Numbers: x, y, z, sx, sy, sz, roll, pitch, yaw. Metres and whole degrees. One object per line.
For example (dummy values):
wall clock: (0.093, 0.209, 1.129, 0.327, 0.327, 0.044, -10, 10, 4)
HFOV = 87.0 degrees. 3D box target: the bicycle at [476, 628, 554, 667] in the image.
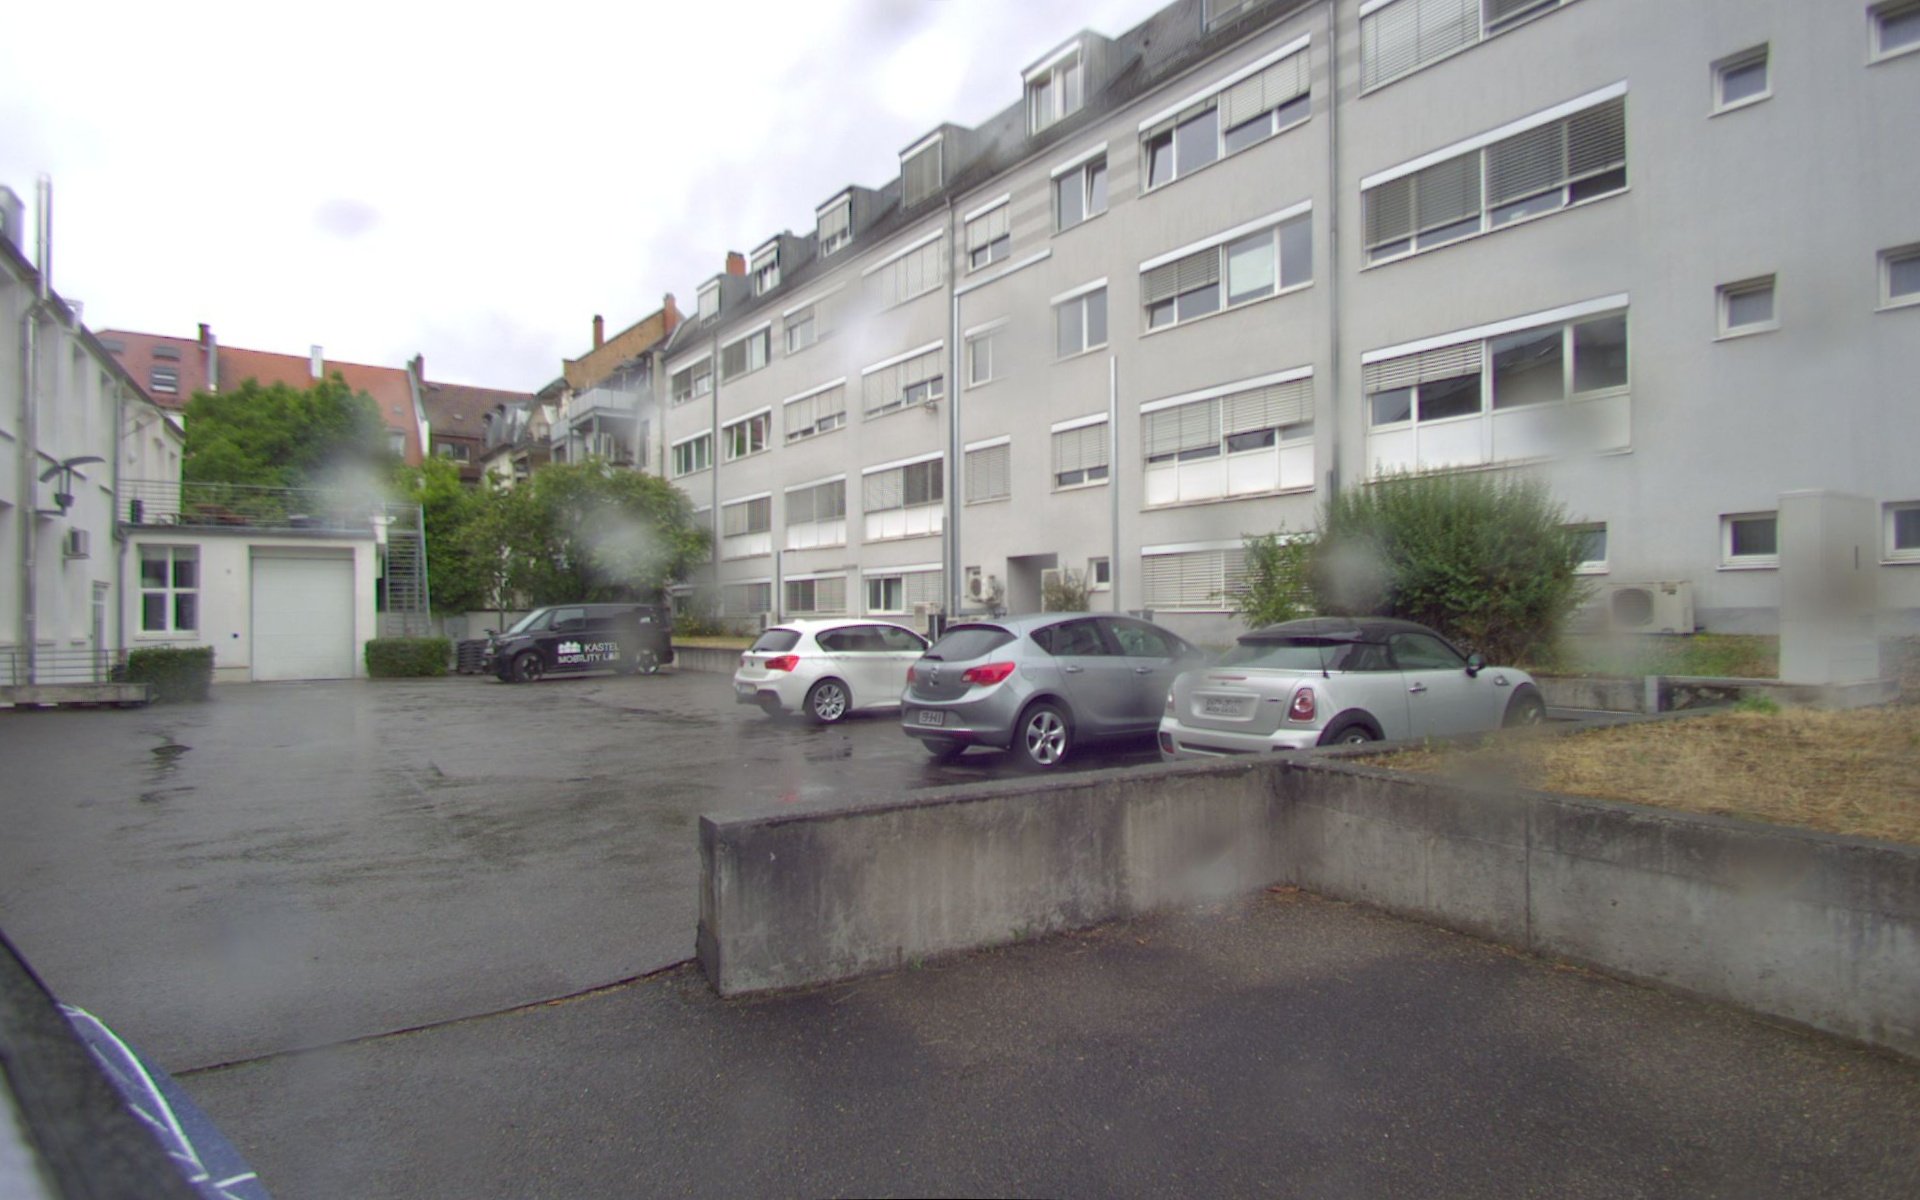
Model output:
bicycle: (-14.575, 1.537, 33.203, 2.281, 1.195, 0.645, 0, 1, -31)

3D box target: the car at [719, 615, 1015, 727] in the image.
car: (-1.322, 0.952, 15.114, 4.084, 1.444, 1.757, 0, -1, -36)

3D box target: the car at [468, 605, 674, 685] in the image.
car: (-9.944, 1.108, 26.045, 4.557, 1.851, 1.992, 0, -2, -38)

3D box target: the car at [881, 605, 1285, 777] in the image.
car: (1.401, 0.829, 10.779, 4.110, 1.495, 1.826, 0, -2, -36)

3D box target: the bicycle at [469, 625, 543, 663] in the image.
bicycle: (-15.629, 1.502, 34.871, 2.281, 1.195, 0.645, 0, 1, -31)

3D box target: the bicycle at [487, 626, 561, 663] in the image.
bicycle: (-14.934, 1.510, 34.700, 2.281, 1.195, 0.645, 0, 1, -31)

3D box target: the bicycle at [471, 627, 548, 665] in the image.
bicycle: (-15.056, 1.523, 33.849, 2.281, 1.195, 0.645, 0, 1, -31)

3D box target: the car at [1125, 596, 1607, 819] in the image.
car: (3.586, 0.749, 8.708, 4.110, 1.343, 1.827, -3, -1, -35)
